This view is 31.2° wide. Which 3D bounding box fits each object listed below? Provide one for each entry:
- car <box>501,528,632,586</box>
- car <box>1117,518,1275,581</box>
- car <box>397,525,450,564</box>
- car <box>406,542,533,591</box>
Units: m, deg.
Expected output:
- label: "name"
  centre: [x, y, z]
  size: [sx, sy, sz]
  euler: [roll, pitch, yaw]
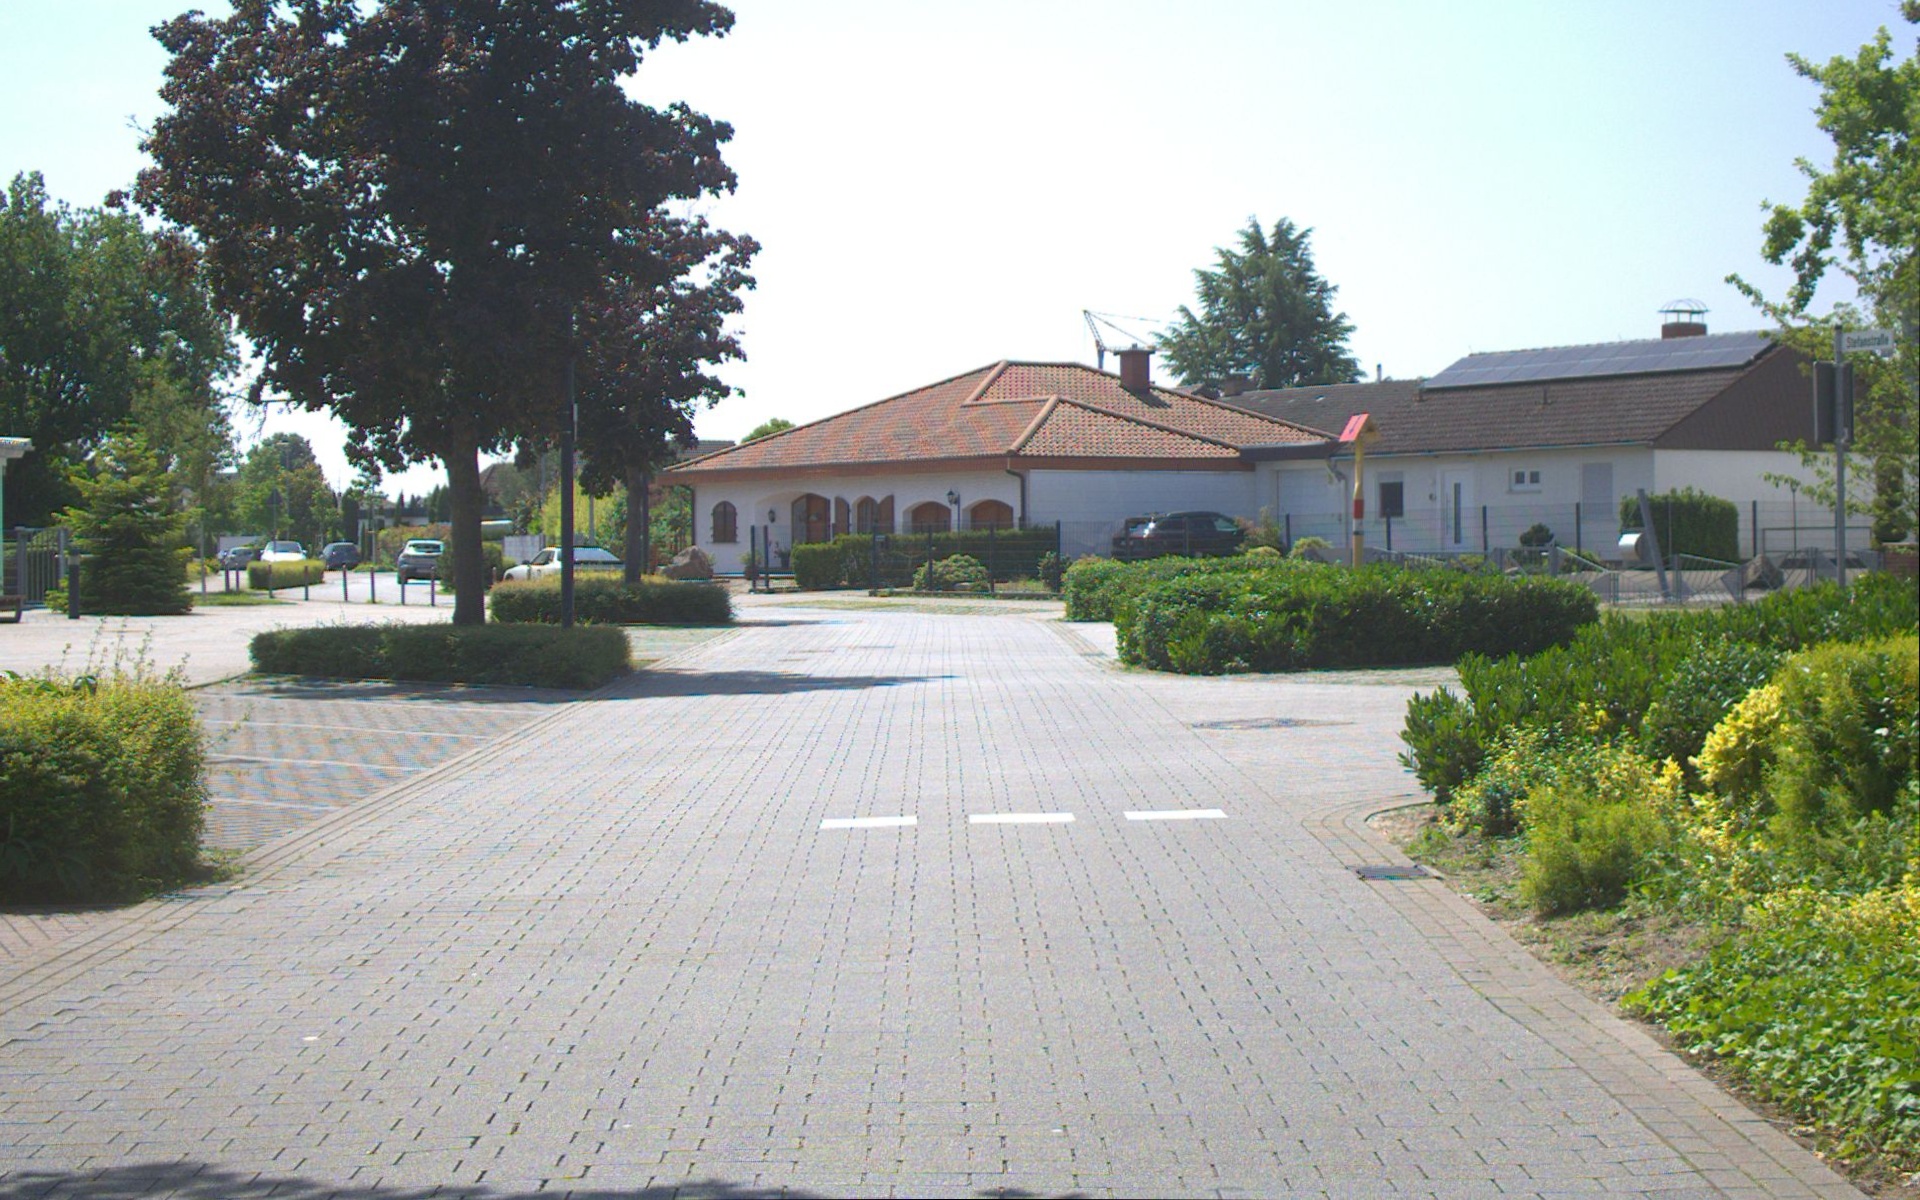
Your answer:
- label: "car"
  centre: [-8.932, -0.972, 77.904]
  size: [1.614, 1.284, 3.557]
  euler: [-1, 1, -31]
- label: "car"
  centre: [5.913, -1.258, 85.803]
  size: [3.826, 1.537, 1.853]
  euler: [-1, 1, -44]
- label: "car"
  centre: [-17.702, -1.832, 113.353]
  size: [1.614, 1.284, 3.558]
  euler: [0, 1, -10]
- label: "car"
  centre: [-13.219, -0.904, 92.555]
  size: [1.993, 1.284, 4.000]
  euler: [-1, 1, -31]
